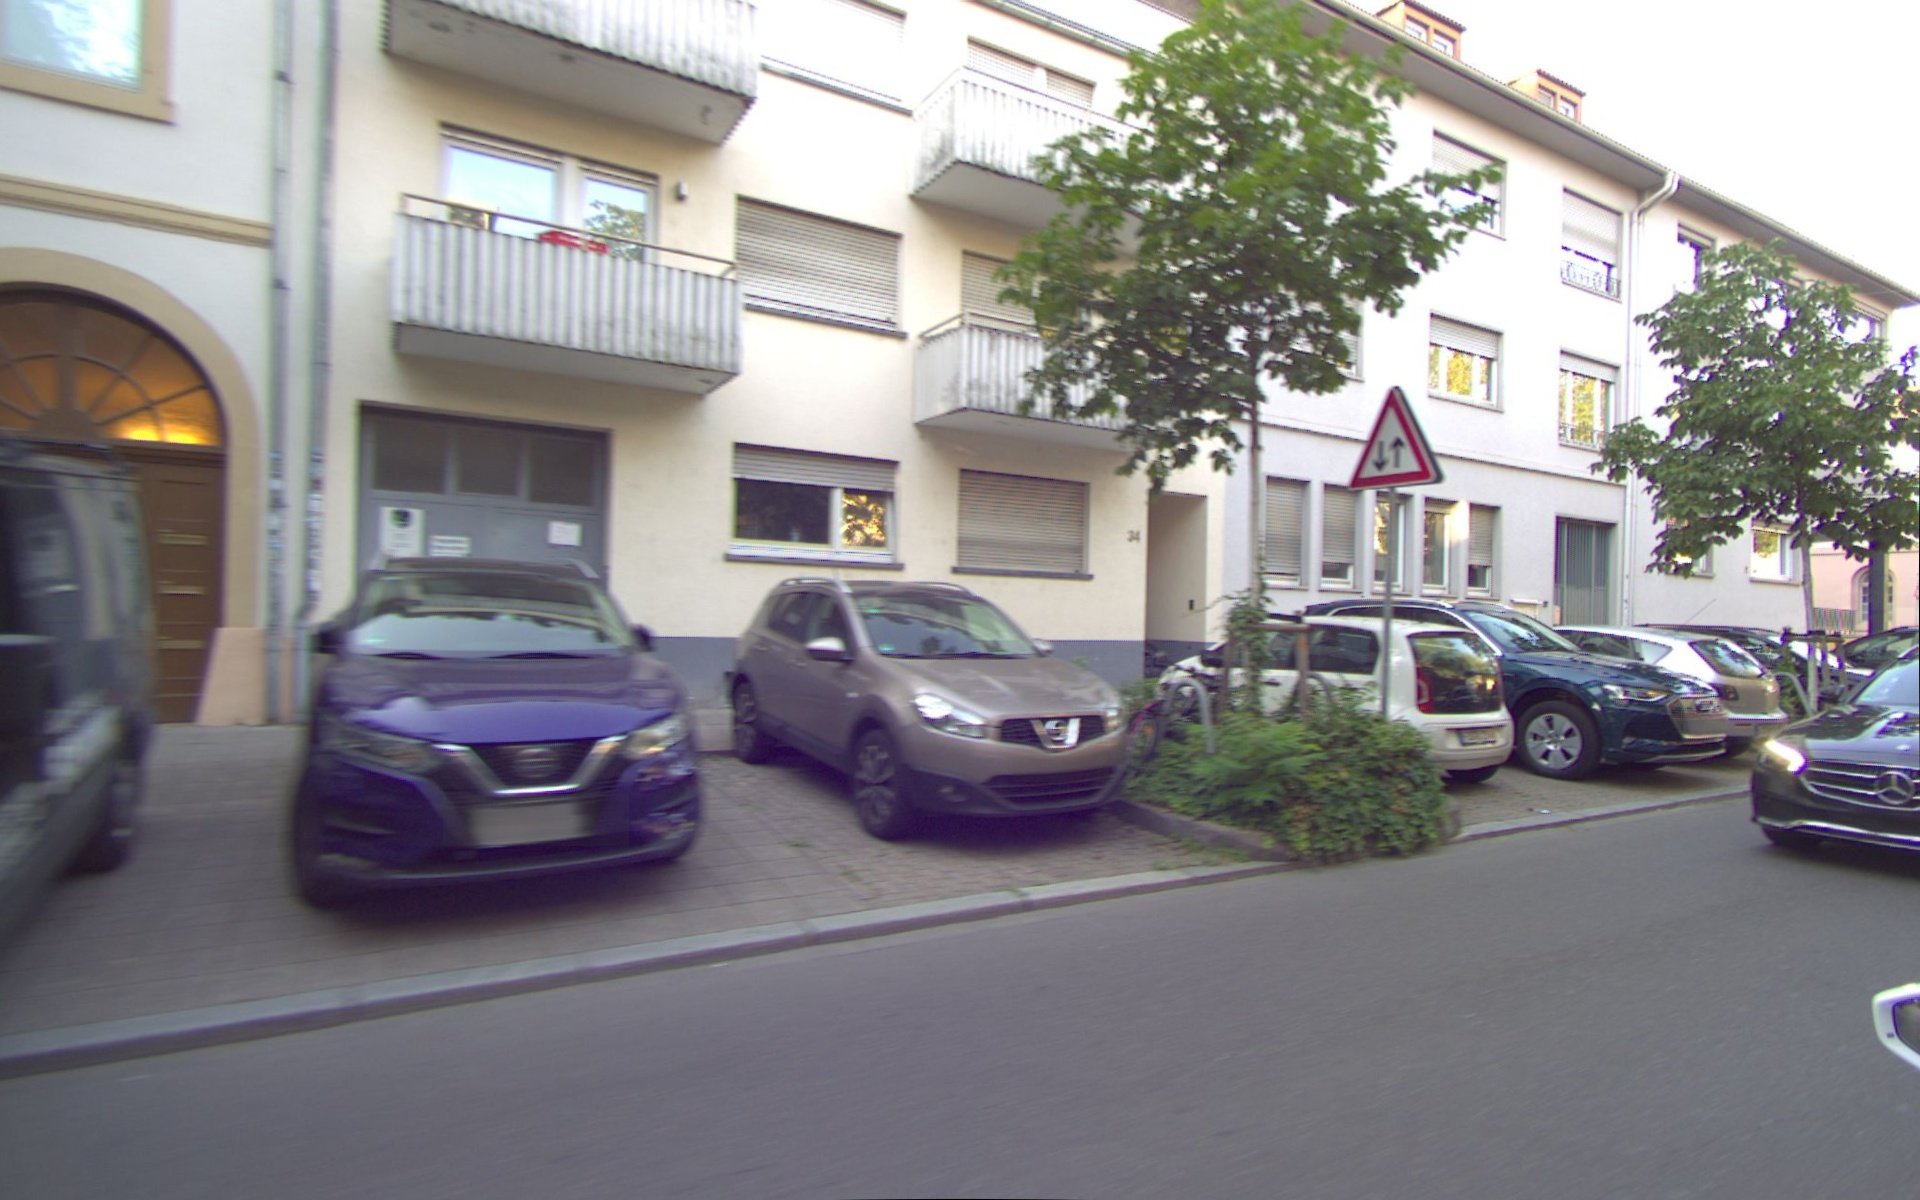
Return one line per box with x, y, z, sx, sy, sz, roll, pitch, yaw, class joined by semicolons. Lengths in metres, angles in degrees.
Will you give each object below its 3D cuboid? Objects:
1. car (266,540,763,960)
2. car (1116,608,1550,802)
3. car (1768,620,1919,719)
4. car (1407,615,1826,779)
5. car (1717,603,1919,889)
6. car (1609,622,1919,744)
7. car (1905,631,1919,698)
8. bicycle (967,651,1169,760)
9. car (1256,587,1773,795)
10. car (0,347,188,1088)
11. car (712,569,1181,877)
-2.853;0.504;6.169;1.908;1.594;4.333;2;2;-30;car
3.512;0.860;10.152;1.833;1.470;3.827;1;1;-30;car
17.432;1.267;18.076;1.912;1.653;4.075;2;0;-29;car
7.892;1.051;12.527;1.757;1.514;4.014;2;1;-26;car
7.480;0.913;7.129;4.594;1.662;1.867;2;-2;-32;car
12.676;1.173;15.545;1.734;1.459;4.057;2;1;-29;car
22.816;1.500;21.291;1.715;1.478;3.722;2;1;-31;car
1.023;0.940;9.368;1.794;0.885;0.742;2;0;-32;bicycle
5.862;0.795;11.292;2.132;1.789;4.642;2;0;-30;car
-4.183;0.279;3.233;2.165;2.017;4.962;1;1;-32;car
-0.420;0.648;7.745;1.802;1.612;4.134;2;2;-30;car
